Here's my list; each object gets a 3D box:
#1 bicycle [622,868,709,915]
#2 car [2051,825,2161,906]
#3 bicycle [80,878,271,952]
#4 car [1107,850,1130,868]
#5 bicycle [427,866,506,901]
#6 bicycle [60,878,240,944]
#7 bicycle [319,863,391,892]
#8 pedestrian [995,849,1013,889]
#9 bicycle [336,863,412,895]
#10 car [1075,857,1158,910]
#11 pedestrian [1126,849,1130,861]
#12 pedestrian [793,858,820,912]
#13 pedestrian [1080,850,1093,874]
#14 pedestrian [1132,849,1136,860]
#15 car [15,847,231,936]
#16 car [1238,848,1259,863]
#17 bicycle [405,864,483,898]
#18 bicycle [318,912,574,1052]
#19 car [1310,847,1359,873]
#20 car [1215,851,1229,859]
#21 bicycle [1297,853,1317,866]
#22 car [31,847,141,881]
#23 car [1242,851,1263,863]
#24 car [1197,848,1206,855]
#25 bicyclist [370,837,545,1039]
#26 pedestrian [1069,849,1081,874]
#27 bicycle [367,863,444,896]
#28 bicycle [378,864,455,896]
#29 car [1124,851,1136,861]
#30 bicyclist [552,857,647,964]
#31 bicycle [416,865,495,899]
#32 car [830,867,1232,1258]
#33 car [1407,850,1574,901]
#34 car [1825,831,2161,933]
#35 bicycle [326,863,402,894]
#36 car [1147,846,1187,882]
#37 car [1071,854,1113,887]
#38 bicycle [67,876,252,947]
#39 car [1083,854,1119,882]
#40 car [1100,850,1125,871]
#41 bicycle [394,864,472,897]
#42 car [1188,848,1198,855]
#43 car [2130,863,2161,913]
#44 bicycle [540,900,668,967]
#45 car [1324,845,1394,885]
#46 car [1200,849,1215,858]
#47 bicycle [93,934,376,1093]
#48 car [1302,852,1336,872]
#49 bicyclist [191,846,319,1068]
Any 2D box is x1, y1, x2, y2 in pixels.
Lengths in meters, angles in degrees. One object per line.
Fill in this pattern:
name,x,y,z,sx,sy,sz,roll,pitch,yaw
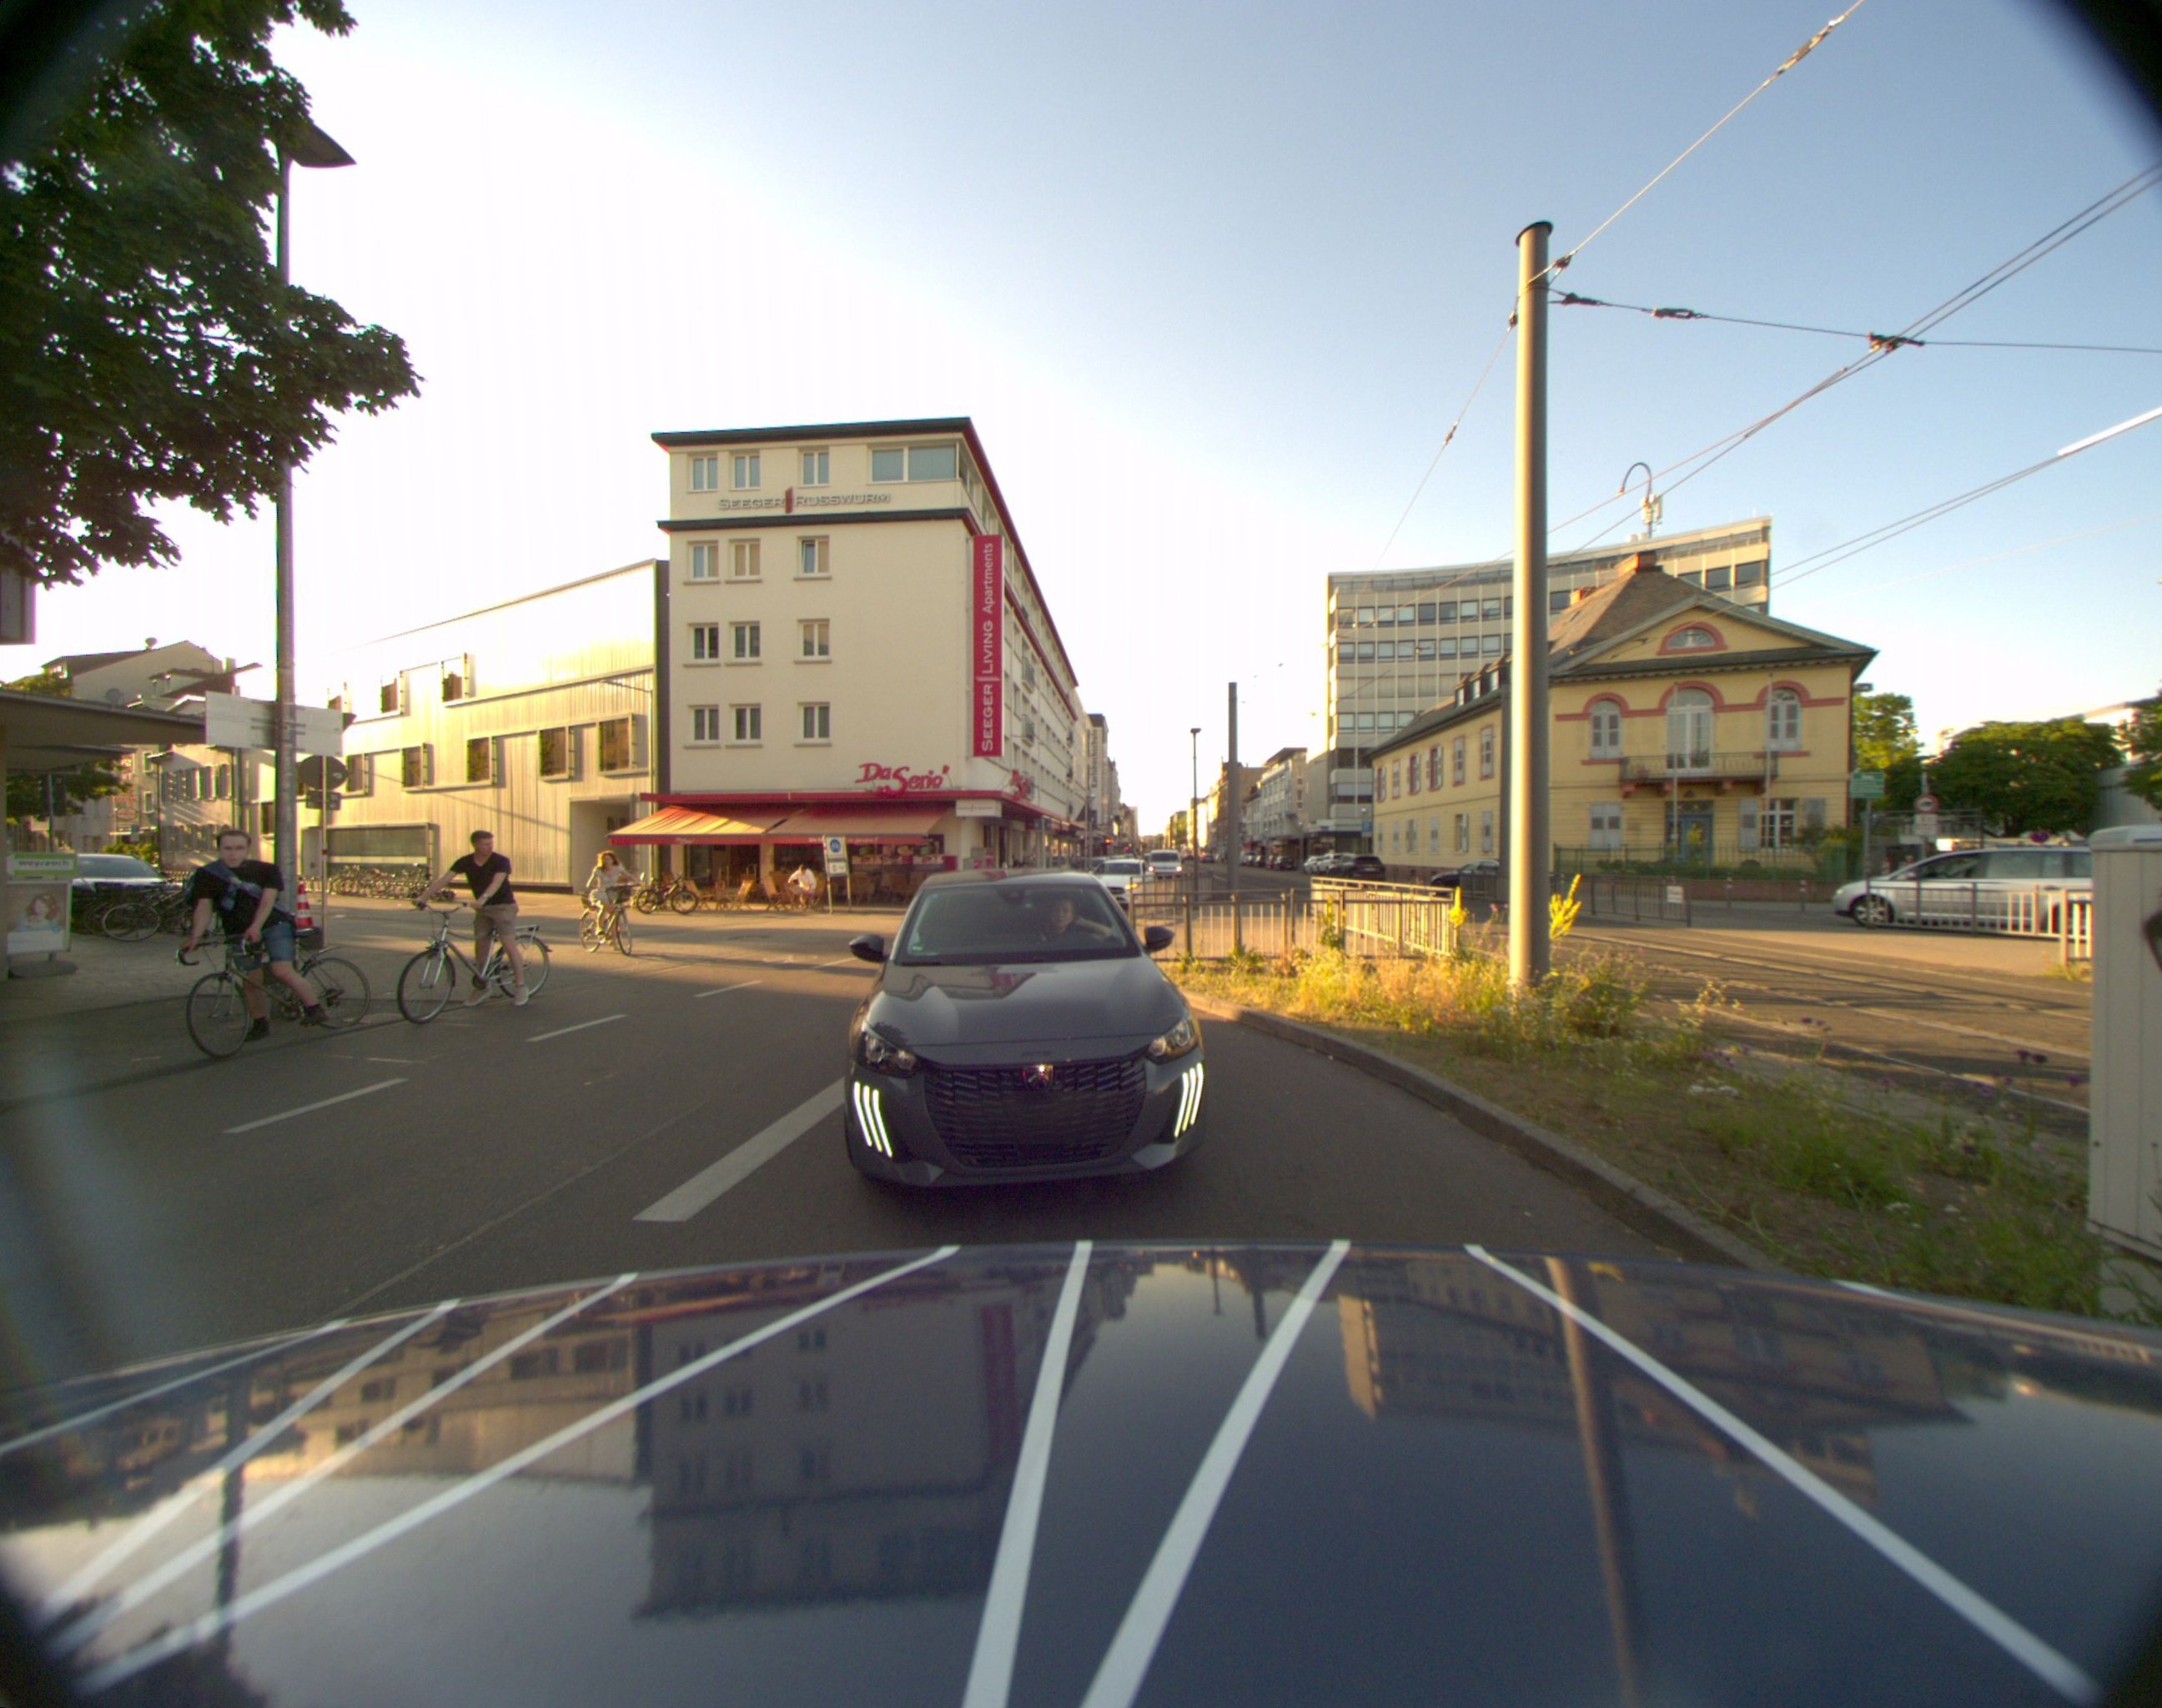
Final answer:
bicycle,-11.631,1.041,21.293,2.110,1.280,0.705,0,1,8
car,36.634,0.365,26.557,2.092,2.615,5.437,1,1,38
bicycle,-16.330,1.053,13.781,0.702,1.213,2.117,0,-1,27
car,3.248,0.393,65.238,1.794,1.503,4.713,2,0,4
bicycle,-22.167,1.042,27.469,0.702,1.213,2.117,0,-1,27
bicycle,-18.361,1.101,15.058,0.702,1.212,2.118,0,-2,27
bicycle,-30.934,0.995,32.404,0.703,1.213,2.116,0,-1,20
pedestrian,-3.396,0.657,33.626,0.605,1.750,0.525,-1,1,-39
bicycle,-28.556,0.996,30.720,0.702,1.213,2.117,0,-1,27
car,1.181,0.825,23.213,1.997,1.450,4.003,0,0,10
pedestrian,7.118,0.105,114.235,0.610,1.743,0.605,1,1,5
pedestrian,-7.970,0.883,22.093,0.574,1.533,0.572,0,1,-2
pedestrian,0.408,0.560,53.558,0.828,1.708,0.843,2,1,5
pedestrian,7.916,0.100,114.180,0.605,1.717,0.646,1,1,5
car,-20.903,0.745,16.588,3.990,1.739,1.897,0,0,22
car,22.974,0.179,104.290,1.959,1.965,5.164,1,0,4
bicycle,-23.666,0.980,28.269,0.702,1.213,2.117,0,-1,27
bicycle,-6.265,1.208,7.712,0.840,1.014,2.076,0,2,-1
car,18.466,0.422,55.523,1.817,1.775,4.496,-4,0,-3
car,25.500,0.160,137.510,1.998,1.535,4.880,-1,0,6
bicycle,24.994,0.644,83.937,1.973,1.417,0.834,1,1,3
car,-63.691,0.627,48.691,1.995,2.002,4.007,-1,1,31
car,21.804,0.356,96.672,1.998,1.457,4.559,-1,0,4
car,30.451,-0.626,192.610,1.998,1.543,4.001,0,1,5
bicyclist,-6.270,0.789,7.719,0.840,1.906,1.115,0,1,0
pedestrian,-0.399,0.529,54.326,0.730,1.731,0.863,2,1,5
bicycle,-26.439,0.983,29.789,0.702,1.213,2.117,0,-1,27
bicycle,-25.654,0.988,29.386,0.702,1.213,2.117,0,-1,27
car,7.698,0.354,119.745,1.681,1.534,3.887,2,0,6
bicyclist,-7.680,0.863,12.131,1.112,1.613,0.842,0,1,29
bicycle,-22.936,1.015,27.901,0.702,1.213,2.117,0,-1,27
car,-0.583,0.901,5.423,1.734,1.513,4.329,-1,0,-11
car,13.859,0.668,25.914,2.004,1.576,4.573,0,1,-42
car,16.893,0.424,13.979,2.002,1.576,4.106,0,0,-20
bicycle,-29.241,0.982,31.021,0.702,1.213,2.117,0,-1,27
car,4.528,0.492,40.488,1.998,1.805,4.001,0,0,4
car,0.635,0.763,38.519,1.739,1.503,4.687,2,0,5
bicycle,-17.295,1.041,14.338,0.702,1.213,2.117,0,-1,27
car,1.236,0.768,44.693,1.789,1.503,4.053,2,0,5
car,2.469,0.486,58.857,1.739,1.503,4.305,2,0,5
bicycle,-24.644,0.980,28.944,0.702,1.213,2.117,0,-1,27
car,26.237,-0.584,177.886,1.997,1.543,4.001,0,0,6
car,33.179,1.041,22.092,1.994,1.477,4.102,0,1,37
bicycle,-7.602,1.223,12.090,2.007,0.876,0.842,0,1,29
car,14.108,0.524,38.841,1.998,1.890,4.812,0,0,3
car,21.050,-0.051,126.219,1.740,1.503,4.034,0,0,-1
bicycle,-7.049,1.268,6.480,0.466,0.965,1.800,0,0,-3
car,19.169,0.630,61.337,1.816,1.503,4.434,1,0,7
bicyclist,-7.048,0.841,6.510,0.466,1.819,0.559,0,1,-3
